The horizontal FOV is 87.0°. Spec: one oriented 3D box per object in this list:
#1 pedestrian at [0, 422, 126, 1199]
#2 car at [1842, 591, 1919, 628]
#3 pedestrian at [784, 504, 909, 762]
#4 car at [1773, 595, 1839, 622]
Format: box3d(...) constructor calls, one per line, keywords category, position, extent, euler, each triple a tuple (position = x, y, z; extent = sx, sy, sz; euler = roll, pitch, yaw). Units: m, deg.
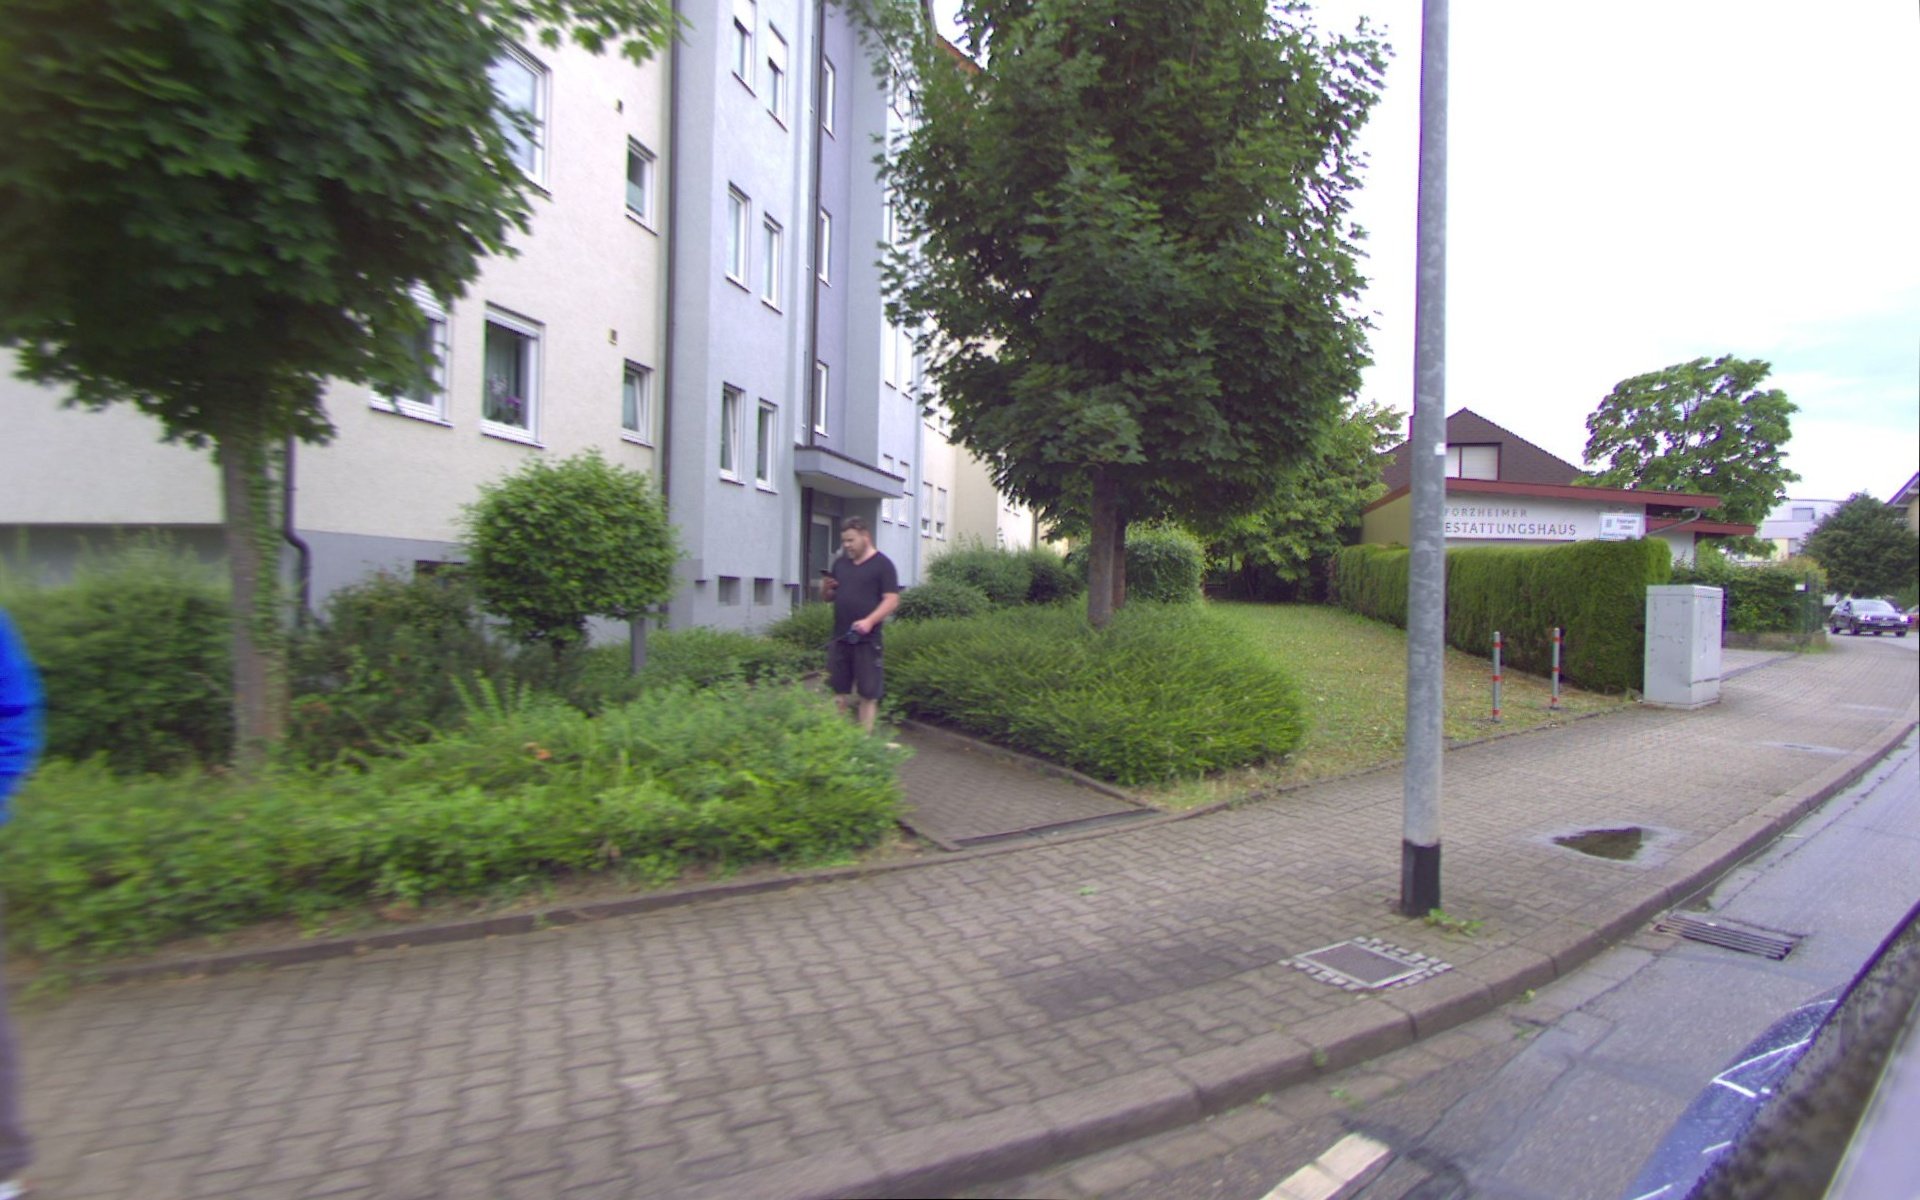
box3d(category="pedestrian", position=(-2.292, 0.479, 2.057), extent=(0.587, 1.687, 0.766), euler=(1, 0, 33))
box3d(category="car", position=(41.485, 0.407, 45.447), extent=(1.824, 1.569, 3.963), euler=(1, 0, 26))
box3d(category="pedestrian", position=(-0.840, 0.225, 7.510), extent=(0.612, 1.795, 0.661), euler=(1, 0, 39))
box3d(category="car", position=(57.501, 0.546, 68.854), extent=(1.857, 1.716, 3.982), euler=(2, 1, 14))
